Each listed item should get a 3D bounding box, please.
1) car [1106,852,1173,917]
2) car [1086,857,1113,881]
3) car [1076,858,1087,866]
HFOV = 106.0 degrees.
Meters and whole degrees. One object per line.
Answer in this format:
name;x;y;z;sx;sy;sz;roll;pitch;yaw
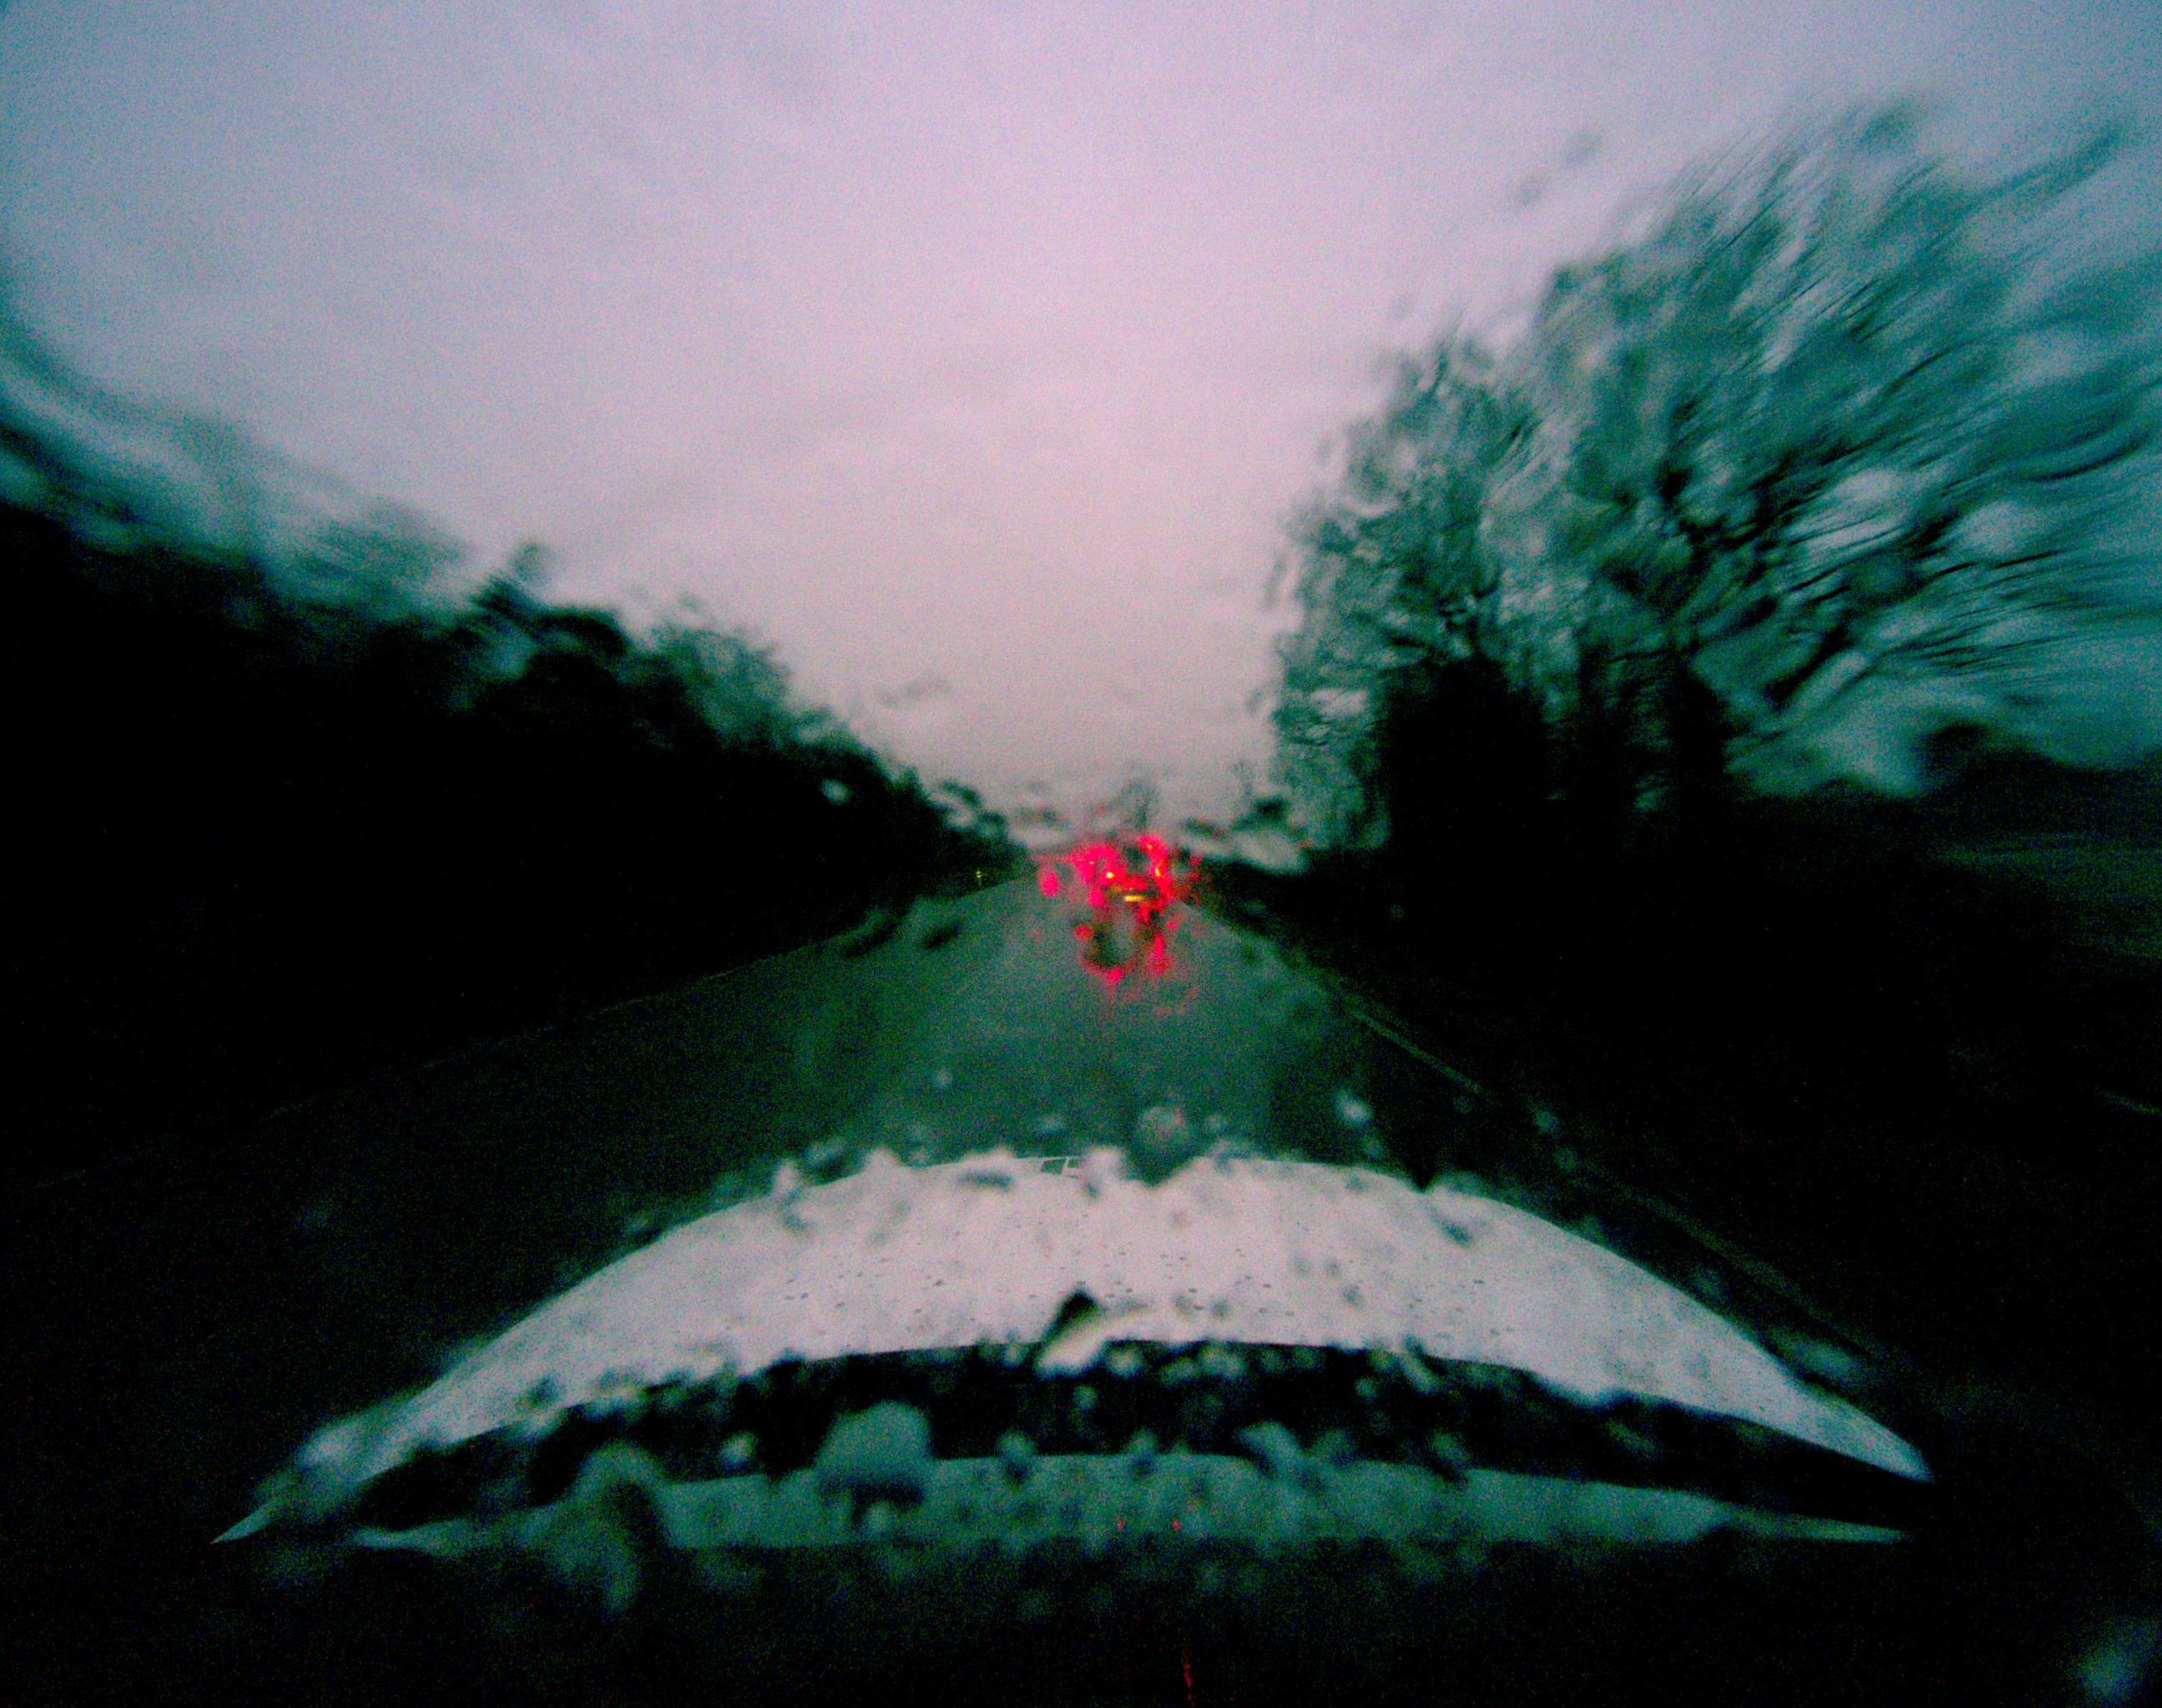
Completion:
car;1.490;0.728;21.317;1.596;1.522;3.872;-1;0;3
car;1.120;0.866;48.621;1.541;1.397;3.870;-1;0;1
car;0.069;1.345;138.299;1.540;1.397;3.874;-1;0;4
